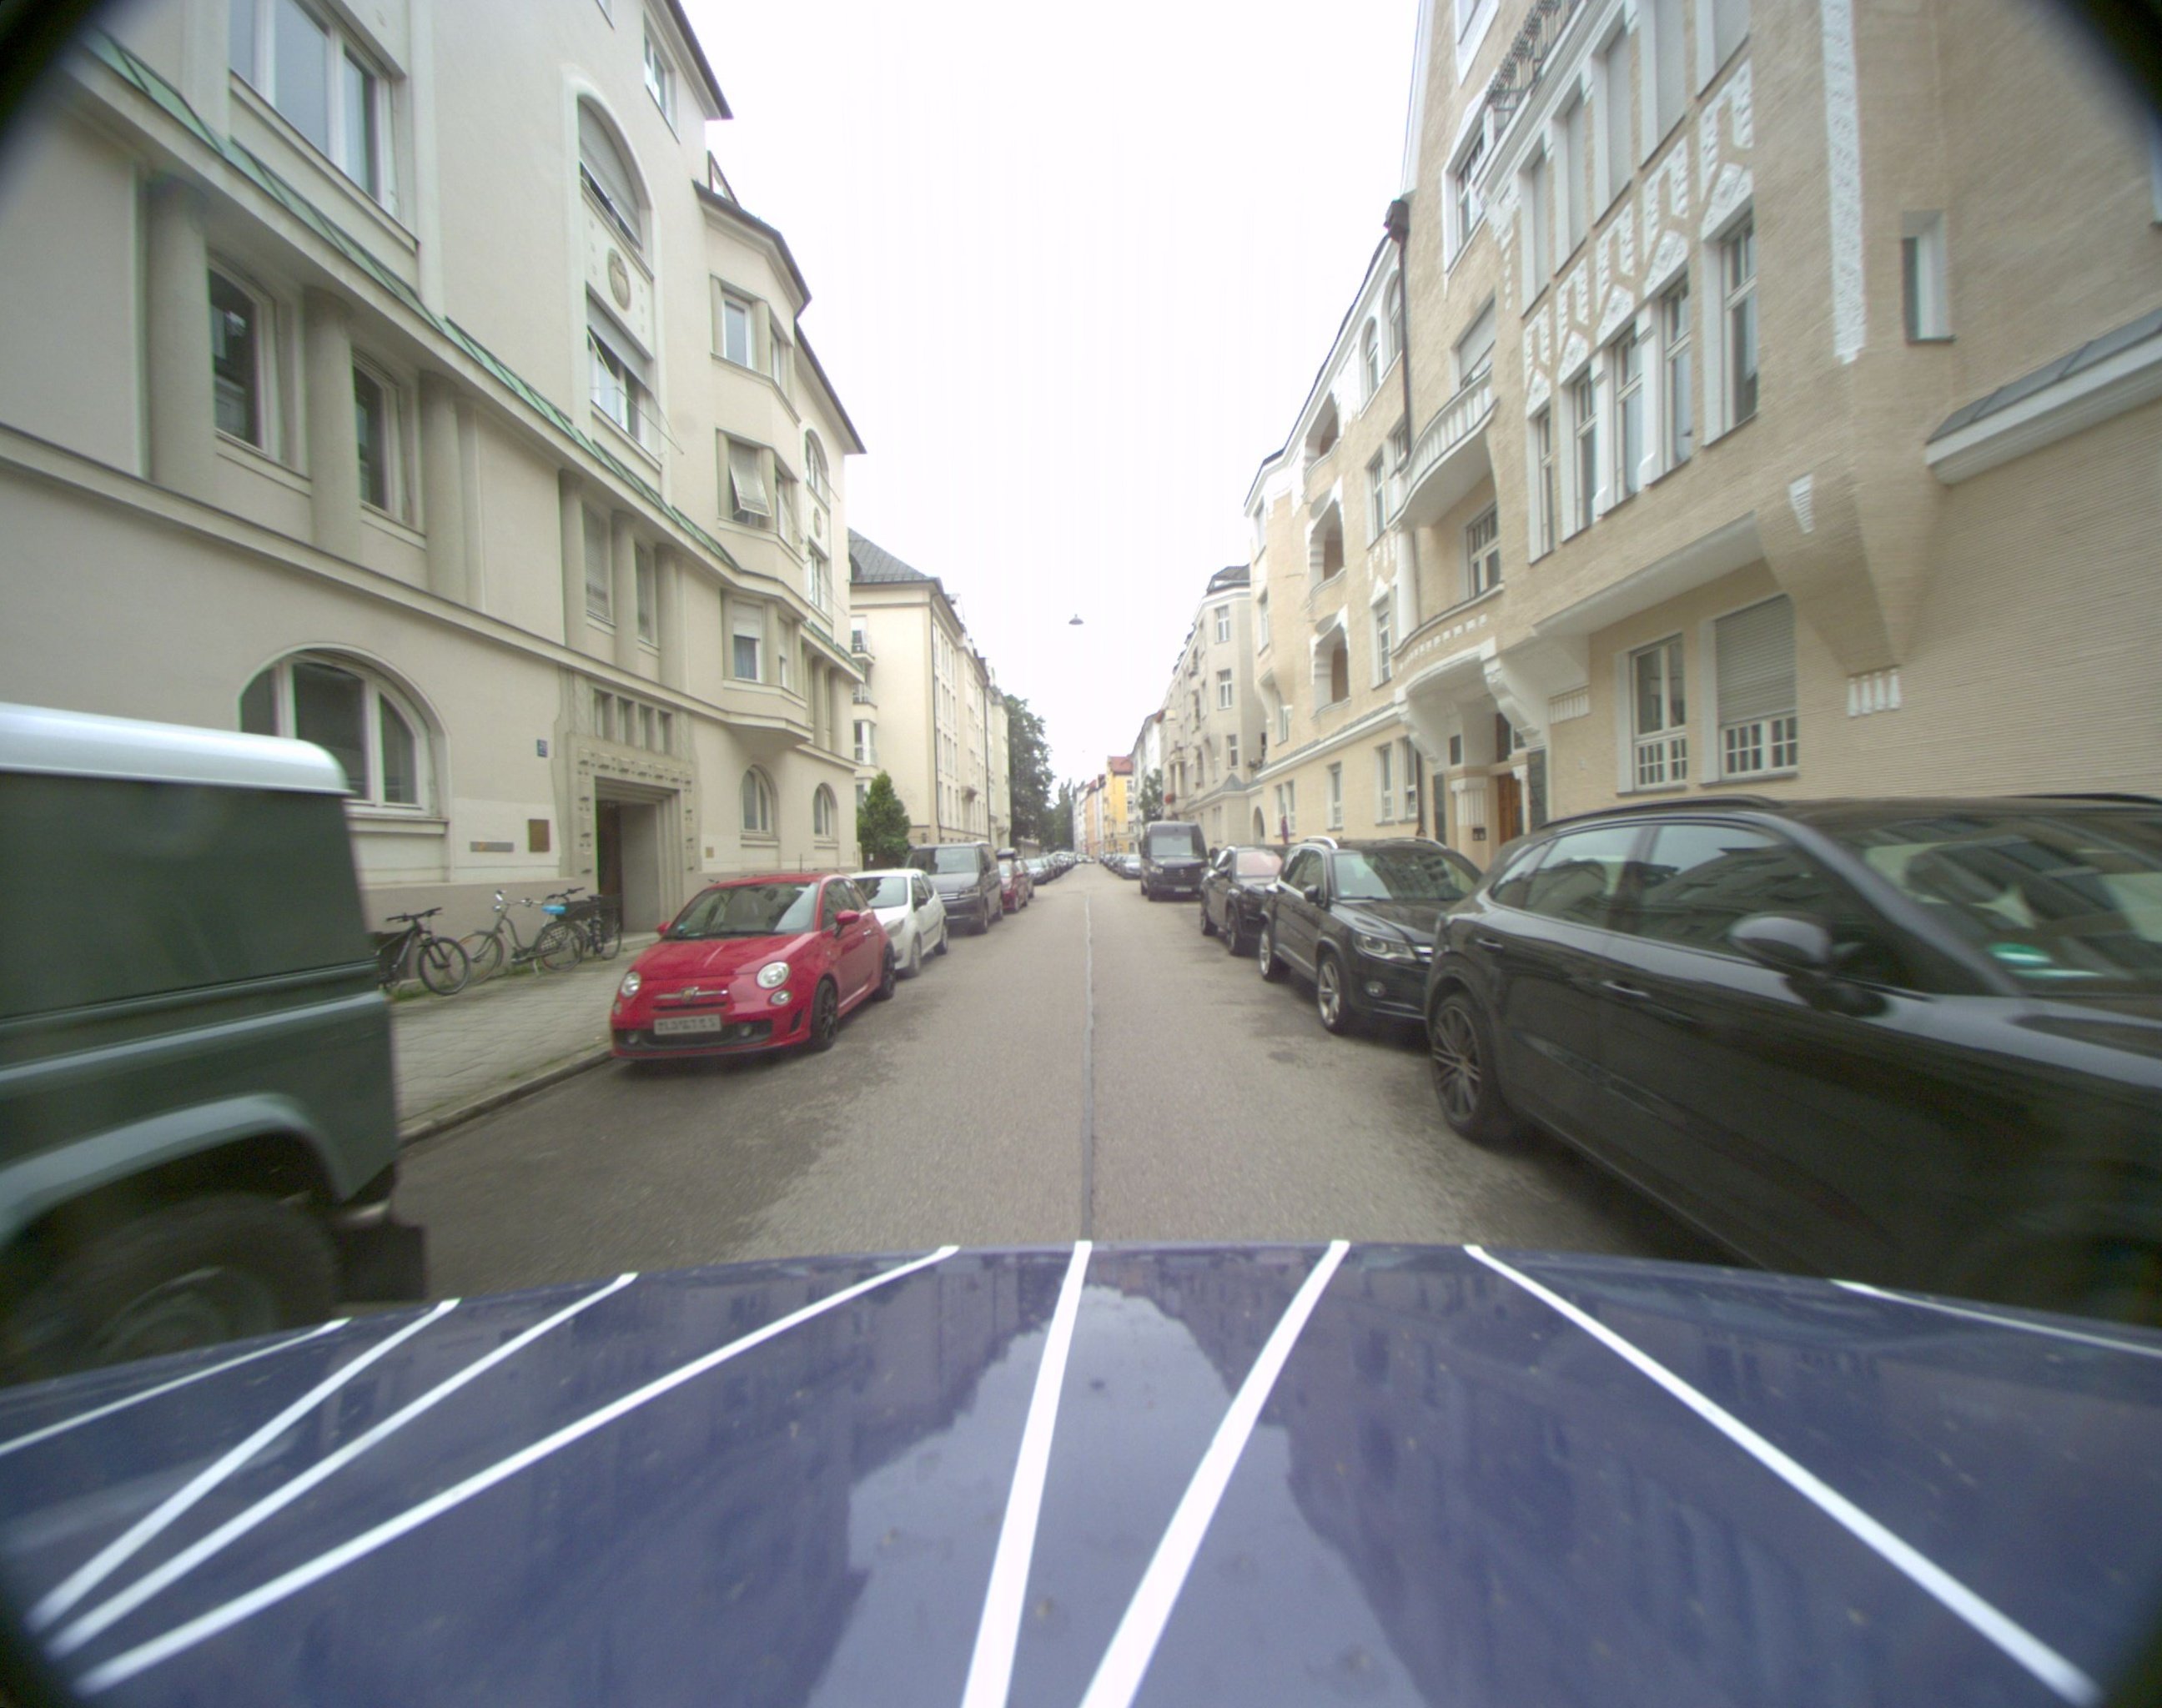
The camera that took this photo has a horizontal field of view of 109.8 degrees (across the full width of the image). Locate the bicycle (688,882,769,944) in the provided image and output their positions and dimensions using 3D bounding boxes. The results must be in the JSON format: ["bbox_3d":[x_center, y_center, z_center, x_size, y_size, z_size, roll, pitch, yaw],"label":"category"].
[{"bbox_3d":[-7.209,1.179,15.653,0.719,1.111,1.967,1,1,1],"label":"bicycle"}]

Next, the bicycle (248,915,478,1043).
[{"bbox_3d":[-7.452,1.247,8.034,0.643,1.041,1.837,0,1,1],"label":"bicycle"}]

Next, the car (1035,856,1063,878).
[{"bbox_3d":[-2.149,0.860,51.710,1.683,1.375,3.645,-2,0,1],"label":"car"}]

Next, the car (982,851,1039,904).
[{"bbox_3d":[-2.539,0.808,28.035,1.683,1.767,3.456,-2,0,1],"label":"car"}]

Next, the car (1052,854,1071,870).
[{"bbox_3d":[-1.900,0.774,74.100,1.683,1.434,3.645,-2,0,1],"label":"car"}]

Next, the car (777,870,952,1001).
[{"bbox_3d":[-2.993,1.048,11.244,1.497,1.463,3.675,-3,0,-1],"label":"car"}]

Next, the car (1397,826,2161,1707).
[{"bbox_3d":[2.718,0.771,2.166,1.955,1.649,4.618,-2,0,4],"label":"car"}]

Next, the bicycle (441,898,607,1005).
[{"bbox_3d":[-7.189,1.209,9.954,0.643,1.111,1.968,-2,1,1],"label":"bicycle"}]

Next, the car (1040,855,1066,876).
[{"bbox_3d":[-2.056,0.829,55.996,1.683,1.375,3.645,-2,0,1],"label":"car"}]

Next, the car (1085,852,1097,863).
[{"bbox_3d":[1.789,0.642,137.288,1.999,1.788,3.999,-2,0,-3],"label":"car"}]

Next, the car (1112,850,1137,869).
[{"bbox_3d":[3.479,0.427,61.395,1.683,1.390,3.704,-2,0,-1],"label":"car"}]

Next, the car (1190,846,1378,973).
[{"bbox_3d":[3.062,0.736,12.464,1.877,1.639,4.460,-2,0,1],"label":"car"}]

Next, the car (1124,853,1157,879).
[{"bbox_3d":[3.485,0.678,45.115,1.683,1.390,3.705,-2,0,1],"label":"car"}]

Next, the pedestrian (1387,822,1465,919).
[{"bbox_3d":[6.465,0.295,14.299,0.995,1.719,0.939,-2,1,0],"label":"pedestrian"}]

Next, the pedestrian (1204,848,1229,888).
[{"bbox_3d":[5.271,0.546,29.613,0.715,1.514,1.015,-2,1,-3],"label":"pedestrian"}]

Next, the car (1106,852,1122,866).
[{"bbox_3d":[3.866,0.561,89.841,1.683,1.628,3.704,-2,0,-1],"label":"car"}]

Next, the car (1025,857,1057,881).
[{"bbox_3d":[-2.470,0.900,47.188,1.683,1.375,3.645,-2,0,1],"label":"car"}]

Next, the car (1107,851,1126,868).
[{"bbox_3d":[3.633,0.560,79.063,1.683,1.628,3.704,-2,0,-1],"label":"car"}]

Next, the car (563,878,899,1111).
[{"bbox_3d":[-2.912,1.060,7.169,1.497,1.463,3.503,-3,0,-1],"label":"car"}]

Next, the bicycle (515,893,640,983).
[{"bbox_3d":[-7.473,1.206,11.401,0.494,1.111,1.967,-2,1,1],"label":"bicycle"}]

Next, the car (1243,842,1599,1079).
[{"bbox_3d":[2.858,0.751,7.463,1.735,1.633,4.102,-2,0,2],"label":"car"}]

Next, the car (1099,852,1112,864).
[{"bbox_3d":[4.428,0.743,139.446,1.999,2.002,3.998,-2,0,-3],"label":"car"}]

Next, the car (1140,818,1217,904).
[{"bbox_3d":[3.169,0.188,25.868,2.104,2.606,5.678,0,1,2],"label":"car"}]

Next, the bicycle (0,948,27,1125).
[{"bbox_3d":[-7.391,1.196,4.323,0.316,1.111,1.562,-2,1,28],"label":"bicycle"}]

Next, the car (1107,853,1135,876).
[{"bbox_3d":[2.667,0.673,51.399,1.683,1.390,3.705,-2,0,0],"label":"car"}]

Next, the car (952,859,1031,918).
[{"bbox_3d":[-2.510,0.934,22.157,1.731,1.458,3.737,-2,0,1],"label":"car"}]

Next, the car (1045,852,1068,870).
[{"bbox_3d":[-2.039,0.576,64.265,1.683,1.434,3.645,-2,0,1],"label":"car"}]

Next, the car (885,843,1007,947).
[{"bbox_3d":[-2.860,0.796,17.160,1.880,1.925,4.662,-3,0,-1],"label":"car"}]

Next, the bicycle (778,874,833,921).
[{"bbox_3d":[-7.144,1.107,19.803,0.719,1.111,1.884,0,1,0],"label":"bicycle"}]

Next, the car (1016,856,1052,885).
[{"bbox_3d":[-2.554,0.852,41.934,1.683,1.434,3.645,-2,0,1],"label":"car"}]

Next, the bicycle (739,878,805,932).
[{"bbox_3d":[-7.184,1.156,17.768,0.719,1.111,1.967,0,1,1],"label":"bicycle"}]

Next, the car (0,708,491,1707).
[{"bbox_3d":[-3.087,0.757,0.677,1.800,2.027,4.071,-2,0,1],"label":"car"}]

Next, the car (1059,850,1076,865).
[{"bbox_3d":[-1.542,0.386,87.862,1.683,1.671,3.645,-2,0,1],"label":"car"}]

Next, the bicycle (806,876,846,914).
[{"bbox_3d":[-7.270,1.157,21.737,0.540,0.952,1.817,-2,0,-1],"label":"bicycle"}]

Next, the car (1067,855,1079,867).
[{"bbox_3d":[-1.136,1.010,111.440,1.683,1.671,3.645,-2,0,1],"label":"car"}]

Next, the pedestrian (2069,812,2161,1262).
[{"bbox_3d":[4.660,0.711,2.880,0.837,1.779,0.741,-2,1,0],"label":"pedestrian"}]

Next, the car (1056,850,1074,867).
[{"bbox_3d":[-1.697,0.448,81.889,1.683,1.671,3.645,-2,0,1],"label":"car"}]

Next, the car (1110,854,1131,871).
[{"bbox_3d":[3.620,0.779,70.840,1.683,1.390,3.704,-2,0,-1],"label":"car"}]
